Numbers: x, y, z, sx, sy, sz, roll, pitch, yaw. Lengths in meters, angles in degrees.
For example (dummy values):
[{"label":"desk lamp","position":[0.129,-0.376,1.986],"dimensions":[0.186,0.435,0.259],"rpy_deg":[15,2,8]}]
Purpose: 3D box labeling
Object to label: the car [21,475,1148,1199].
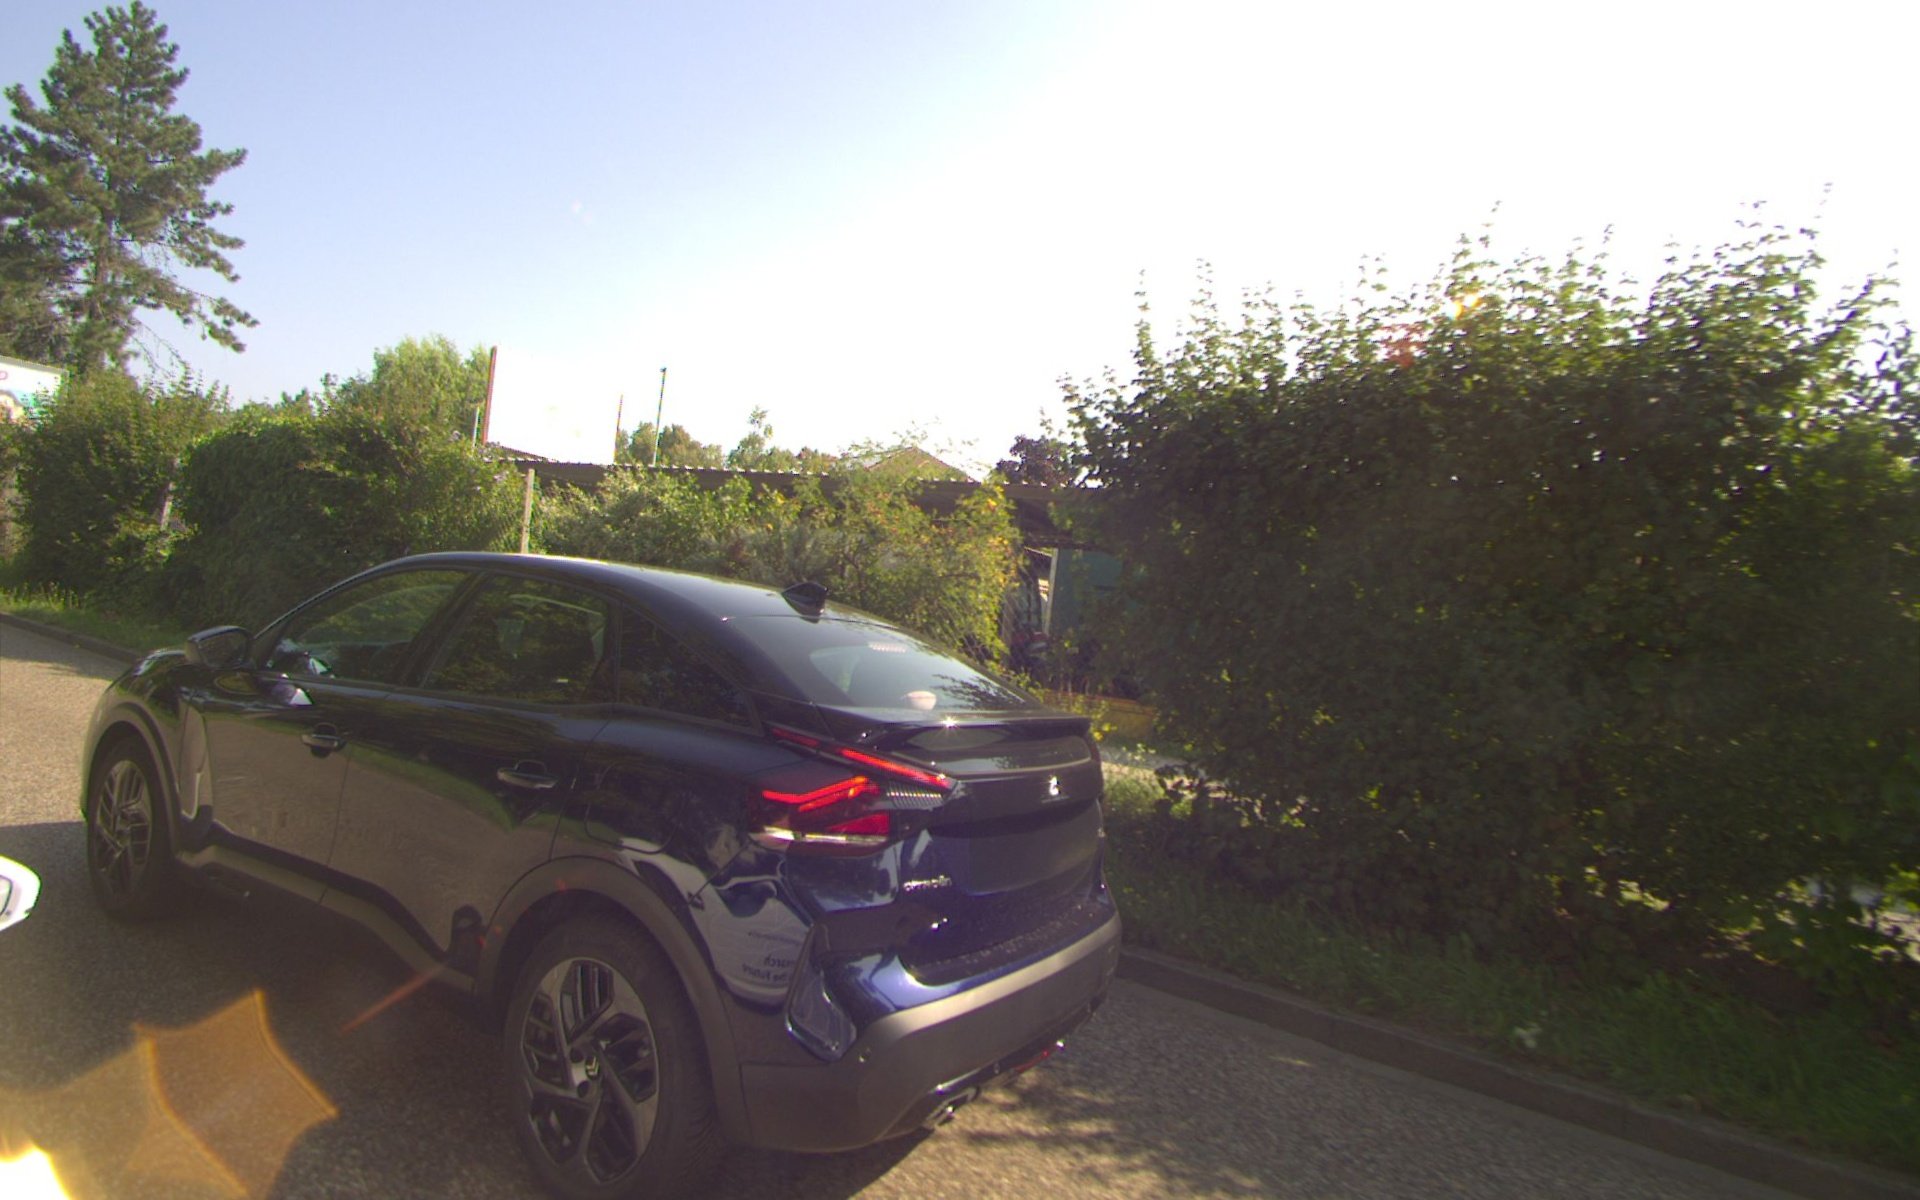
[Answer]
[{"label":"car","position":[-1.650,0.535,3.744],"dimensions":[4.185,1.608,1.647],"rpy_deg":[6,0,33]}]
